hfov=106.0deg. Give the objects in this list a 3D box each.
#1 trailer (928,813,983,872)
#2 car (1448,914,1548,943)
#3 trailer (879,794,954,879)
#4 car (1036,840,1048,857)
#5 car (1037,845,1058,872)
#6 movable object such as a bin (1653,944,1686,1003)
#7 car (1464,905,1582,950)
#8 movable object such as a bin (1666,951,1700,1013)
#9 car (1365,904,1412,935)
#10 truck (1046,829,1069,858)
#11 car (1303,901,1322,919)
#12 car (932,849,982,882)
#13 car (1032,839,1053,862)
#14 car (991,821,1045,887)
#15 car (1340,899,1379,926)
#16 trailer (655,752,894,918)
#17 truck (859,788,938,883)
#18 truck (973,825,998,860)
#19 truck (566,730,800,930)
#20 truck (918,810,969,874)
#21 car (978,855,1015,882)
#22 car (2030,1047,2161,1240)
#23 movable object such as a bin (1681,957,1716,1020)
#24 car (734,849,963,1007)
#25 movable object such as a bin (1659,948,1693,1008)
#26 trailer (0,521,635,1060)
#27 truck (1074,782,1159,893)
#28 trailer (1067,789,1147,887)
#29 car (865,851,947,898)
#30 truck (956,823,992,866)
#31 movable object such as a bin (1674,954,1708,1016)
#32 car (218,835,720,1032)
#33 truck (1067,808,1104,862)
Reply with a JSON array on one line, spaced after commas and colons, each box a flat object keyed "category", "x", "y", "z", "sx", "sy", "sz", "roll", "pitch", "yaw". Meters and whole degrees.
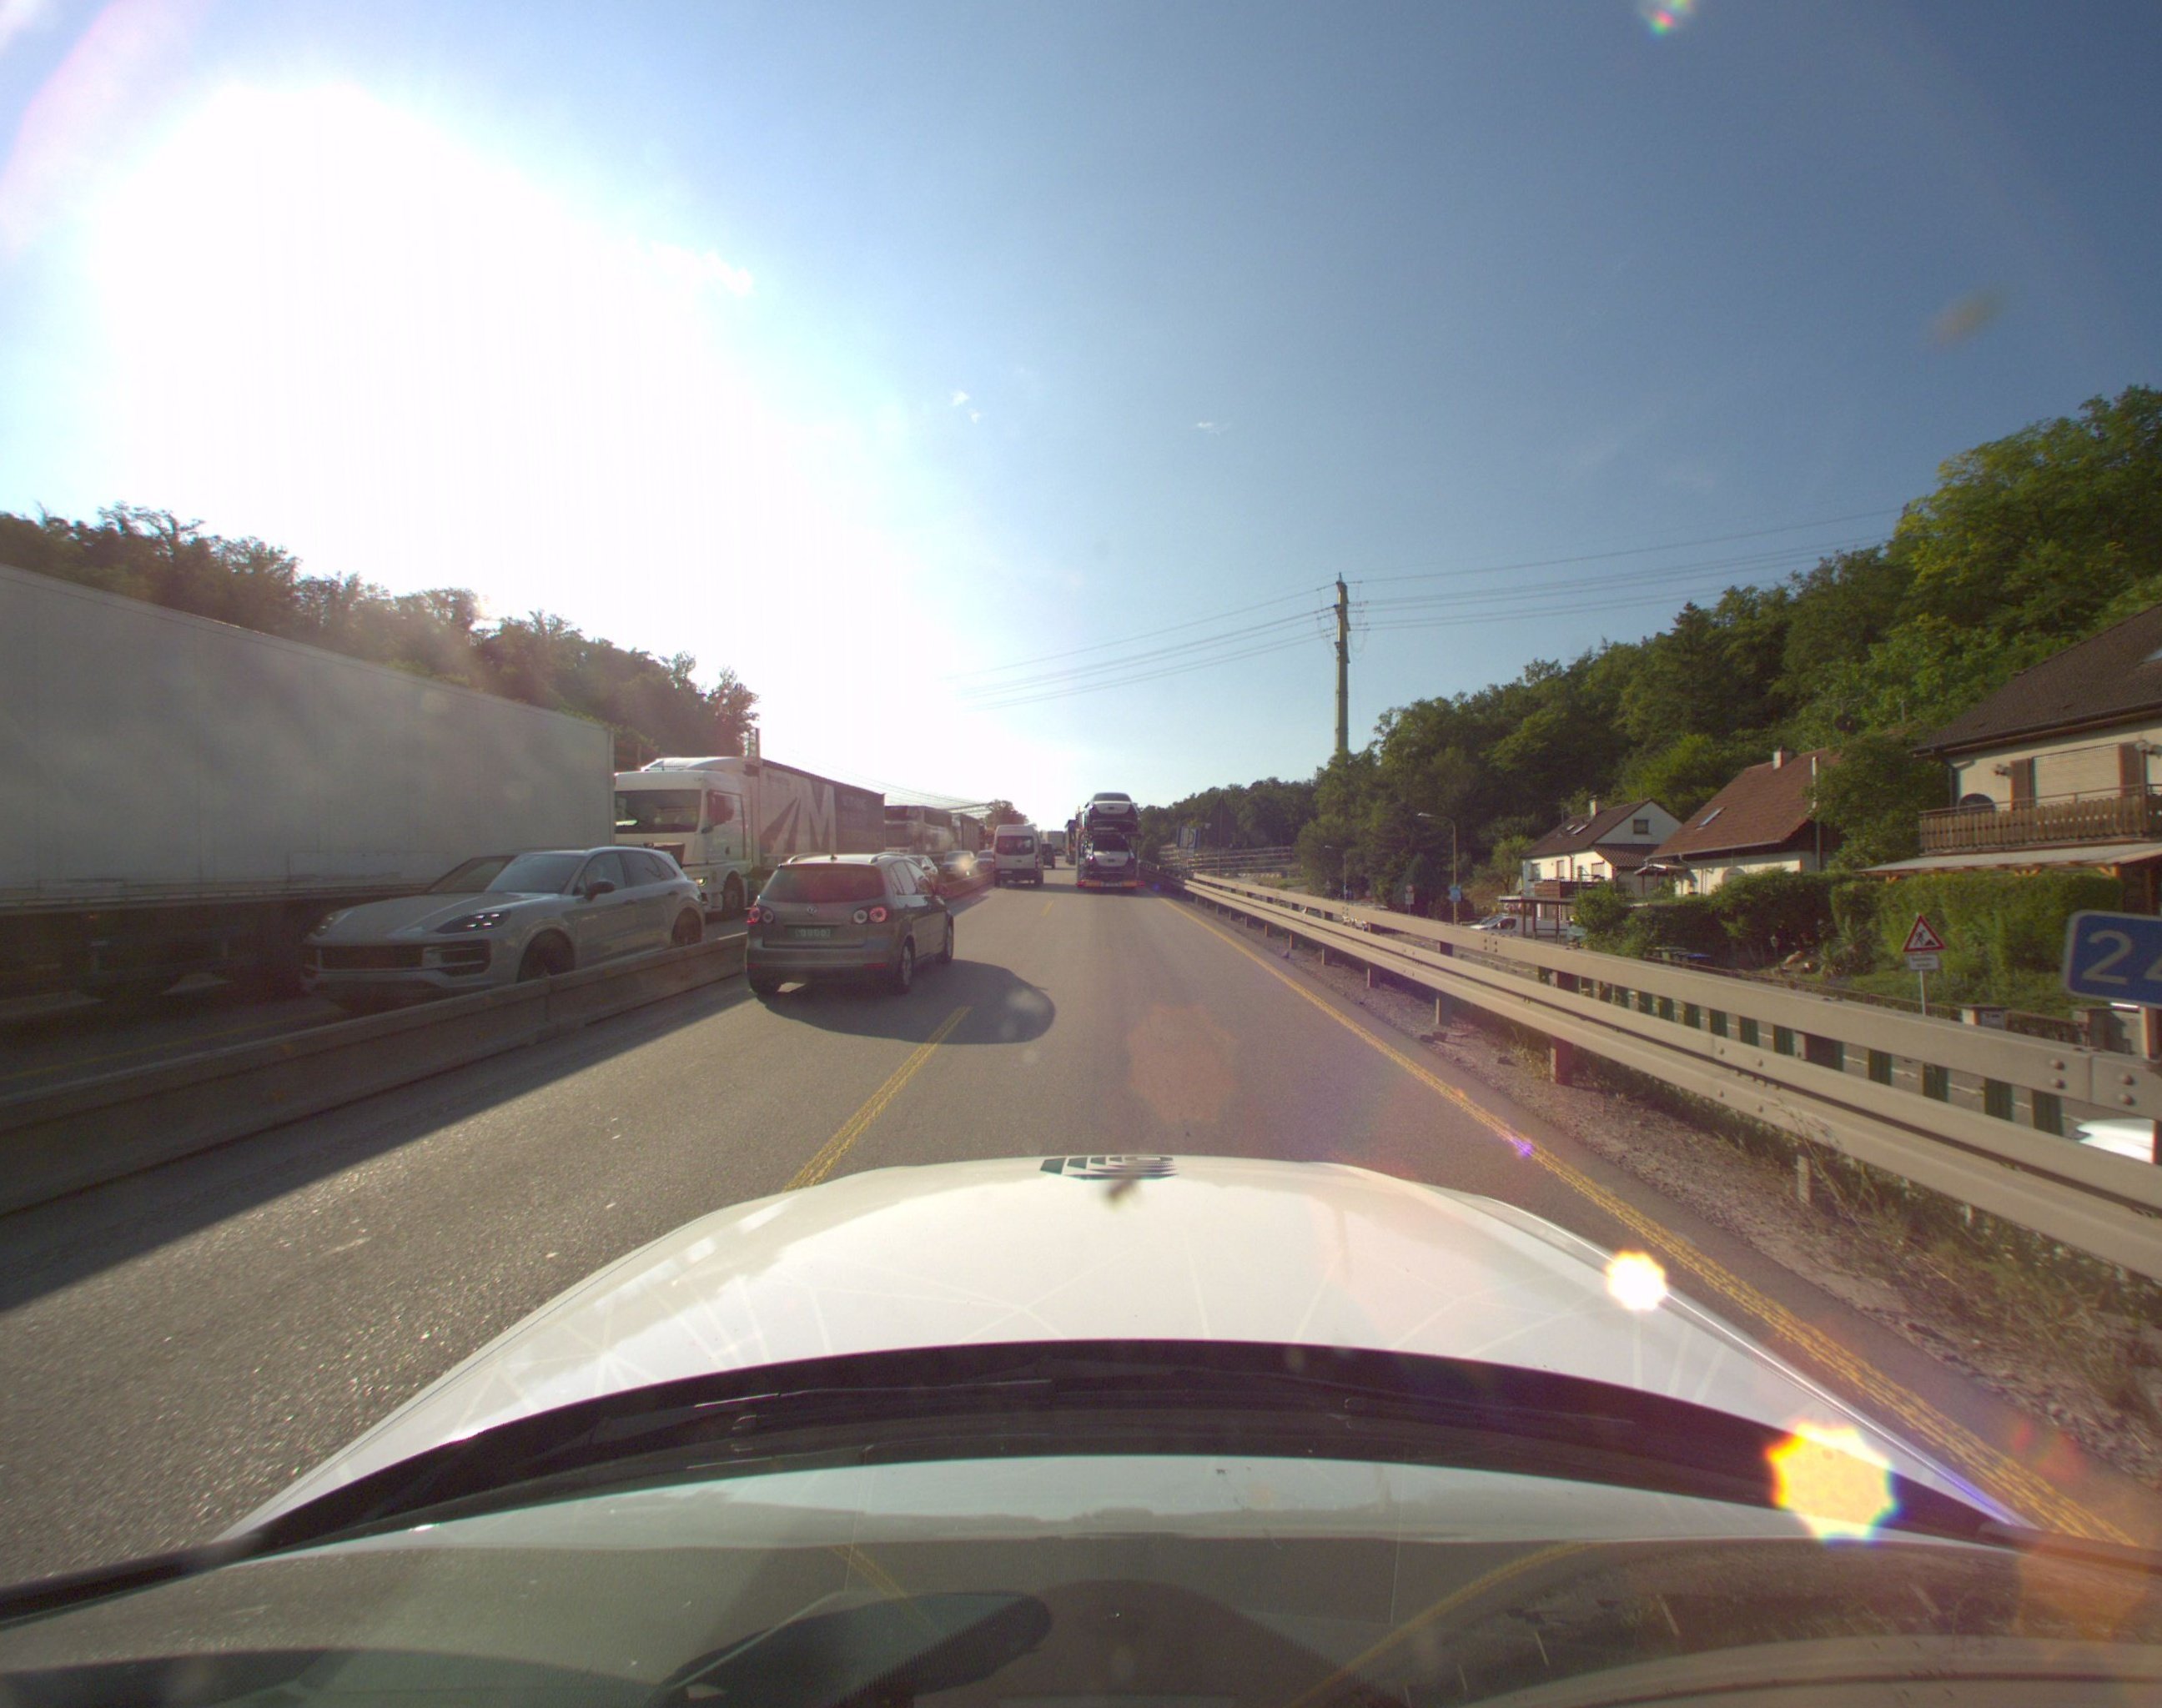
[{"category": "trailer", "x": -9.635, "y": -0.842, "z": 63.750, "sx": 2.708, "sy": 4.122, "sz": 12.481, "roll": -2, "pitch": 0, "yaw": -2}, {"category": "car", "x": 25.010, "y": 4.464, "z": 48.952, "sx": 5.065, "sy": 1.557, "sz": 1.718, "roll": 0, "pitch": -2, "yaw": 5}, {"category": "trailer", "x": -9.201, "y": -0.889, "z": 46.399, "sx": 2.903, "sy": 4.465, "sz": 7.149, "roll": 0, "pitch": 0, "yaw": -1}, {"category": "car", "x": -4.911, "y": -0.683, "z": 102.875, "sx": 1.524, "sy": 2.014, "sz": 3.997, "roll": 2, "pitch": -1, "yaw": -2}, {"category": "car", "x": -2.547, "y": 0.369, "z": 62.650, "sx": 1.524, "sy": 2.014, "sz": 3.998, "roll": 2, "pitch": -1, "yaw": -1}, {"category": "movable object such as a bin", "x": 18.821, "y": 3.814, "z": 26.046, "sx": 0.526, "sy": 1.770, "sz": 0.417, "roll": 9, "pitch": -1, "yaw": 10}, {"category": "car", "x": 24.351, "y": 4.051, "z": 45.056, "sx": 5.440, "sy": 2.264, "sz": 2.003, "roll": 1, "pitch": -2, "yaw": 5}, {"category": "movable object such as a bin", "x": 18.626, "y": 3.953, "z": 25.201, "sx": 0.486, "sy": 1.770, "sz": 0.415, "roll": 9, "pitch": -1, "yaw": 11}, {"category": "car", "x": 21.216, "y": 4.472, "z": 56.403, "sx": 1.984, "sy": 1.917, "sz": 4.874, "roll": -1, "pitch": -2, "yaw": 8}, {"category": "truck", "x": -3.929, "y": -1.817, "z": 137.701, "sx": 3.637, "sy": 4.676, "sz": 11.692, "roll": 0, "pitch": 1, "yaw": -1}, {"category": "car", "x": 22.569, "y": 5.419, "z": 79.535, "sx": 1.515, "sy": 1.461, "sz": 4.282, "roll": -1, "pitch": 0, "yaw": 12}, {"category": "car", "x": -6.142, "y": 0.577, "z": 40.783, "sx": 1.761, "sy": 1.551, "sz": 4.478, "roll": 1, "pitch": -1, "yaw": 0}, {"category": "car", "x": -3.441, "y": -0.306, "z": 73.608, "sx": 1.828, "sy": 1.963, "sz": 4.895, "roll": -1, "pitch": -1, "yaw": -2}, {"category": "car", "x": -2.690, "y": 0.025, "z": 35.606, "sx": 1.973, "sy": 2.684, "sz": 4.146, "roll": -1, "pitch": 0, "yaw": 0}, {"category": "car", "x": 22.744, "y": 4.767, "z": 66.682, "sx": 1.853, "sy": 1.986, "sz": 5.060, "roll": -1, "pitch": -2, "yaw": 6}, {"category": "trailer", "x": -9.455, "y": -0.456, "z": 27.821, "sx": 2.766, "sy": 4.203, "sz": 13.832, "roll": -1, "pitch": 0, "yaw": 0}, {"category": "truck", "x": -9.140, "y": -0.901, "z": 41.339, "sx": 2.911, "sy": 4.514, "sz": 5.025, "roll": 0, "pitch": 0, "yaw": -1}, {"category": "truck", "x": -11.564, "y": -1.359, "z": 99.111, "sx": 2.696, "sy": 4.140, "sz": 5.784, "roll": -1, "pitch": 0, "yaw": -5}, {"category": "truck", "x": -9.517, "y": -0.496, "z": 20.370, "sx": 2.755, "sy": 4.203, "sz": 6.114, "roll": -1, "pitch": 0, "yaw": 0}, {"category": "truck", "x": -9.332, "y": -0.820, "z": 55.876, "sx": 2.743, "sy": 4.115, "sz": 5.025, "roll": -2, "pitch": 0, "yaw": -3}, {"category": "car", "x": -5.473, "y": 0.950, "z": 53.361, "sx": 1.856, "sy": 1.586, "sz": 4.745, "roll": 3, "pitch": -1, "yaw": 0}, {"category": "car", "x": 11.402, "y": 2.954, "z": 6.959, "sx": 1.659, "sy": 1.662, "sz": 4.479, "roll": -1, "pitch": -2, "yaw": 7}, {"category": "movable object such as a bin", "x": 18.448, "y": 4.019, "z": 24.346, "sx": 0.486, "sy": 1.770, "sz": 0.415, "roll": 9, "pitch": -1, "yaw": 11}, {"category": "car", "x": -2.684, "y": 0.771, "z": 10.415, "sx": 1.695, "sy": 1.587, "sz": 4.146, "roll": -1, "pitch": 0, "yaw": 0}, {"category": "movable object such as a bin", "x": 18.713, "y": 3.882, "z": 25.620, "sx": 0.532, "sy": 1.770, "sz": 0.410, "roll": 9, "pitch": -1, "yaw": 10}, {"category": "trailer", "x": -9.818, "y": -0.486, "z": 8.400, "sx": 2.446, "sy": 4.320, "sz": 13.780, "roll": -1, "pitch": 0, "yaw": 2}, {"category": "truck", "x": 1.252, "y": -0.589, "z": 32.403, "sx": 2.863, "sy": 3.980, "sz": 5.766, "roll": -1, "pitch": 0, "yaw": -2}, {"category": "trailer", "x": 0.931, "y": -0.617, "z": 40.931, "sx": 2.867, "sy": 3.994, "sz": 15.265, "roll": -1, "pitch": 0, "yaw": -2}, {"category": "car", "x": -5.911, "y": 0.697, "z": 28.105, "sx": 1.769, "sy": 1.457, "sz": 4.813, "roll": 1, "pitch": -1, "yaw": 0}, {"category": "truck", "x": -10.135, "y": -0.897, "z": 77.665, "sx": 2.743, "sy": 3.805, "sz": 7.104, "roll": -2, "pitch": 0, "yaw": -3}, {"category": "movable object such as a bin", "x": 18.542, "y": 3.978, "z": 24.779, "sx": 0.486, "sy": 1.770, "sz": 0.415, "roll": 9, "pitch": -1, "yaw": 11}, {"category": "car", "x": -6.417, "y": 0.717, "z": 9.564, "sx": 2.001, "sy": 1.655, "sz": 4.975, "roll": 2, "pitch": -1, "yaw": 1}, {"category": "truck", "x": 0.281, "y": -1.775, "z": 76.695, "sx": 3.219, "sy": 4.676, "sz": 11.690, "roll": 0, "pitch": 1, "yaw": -1}]
